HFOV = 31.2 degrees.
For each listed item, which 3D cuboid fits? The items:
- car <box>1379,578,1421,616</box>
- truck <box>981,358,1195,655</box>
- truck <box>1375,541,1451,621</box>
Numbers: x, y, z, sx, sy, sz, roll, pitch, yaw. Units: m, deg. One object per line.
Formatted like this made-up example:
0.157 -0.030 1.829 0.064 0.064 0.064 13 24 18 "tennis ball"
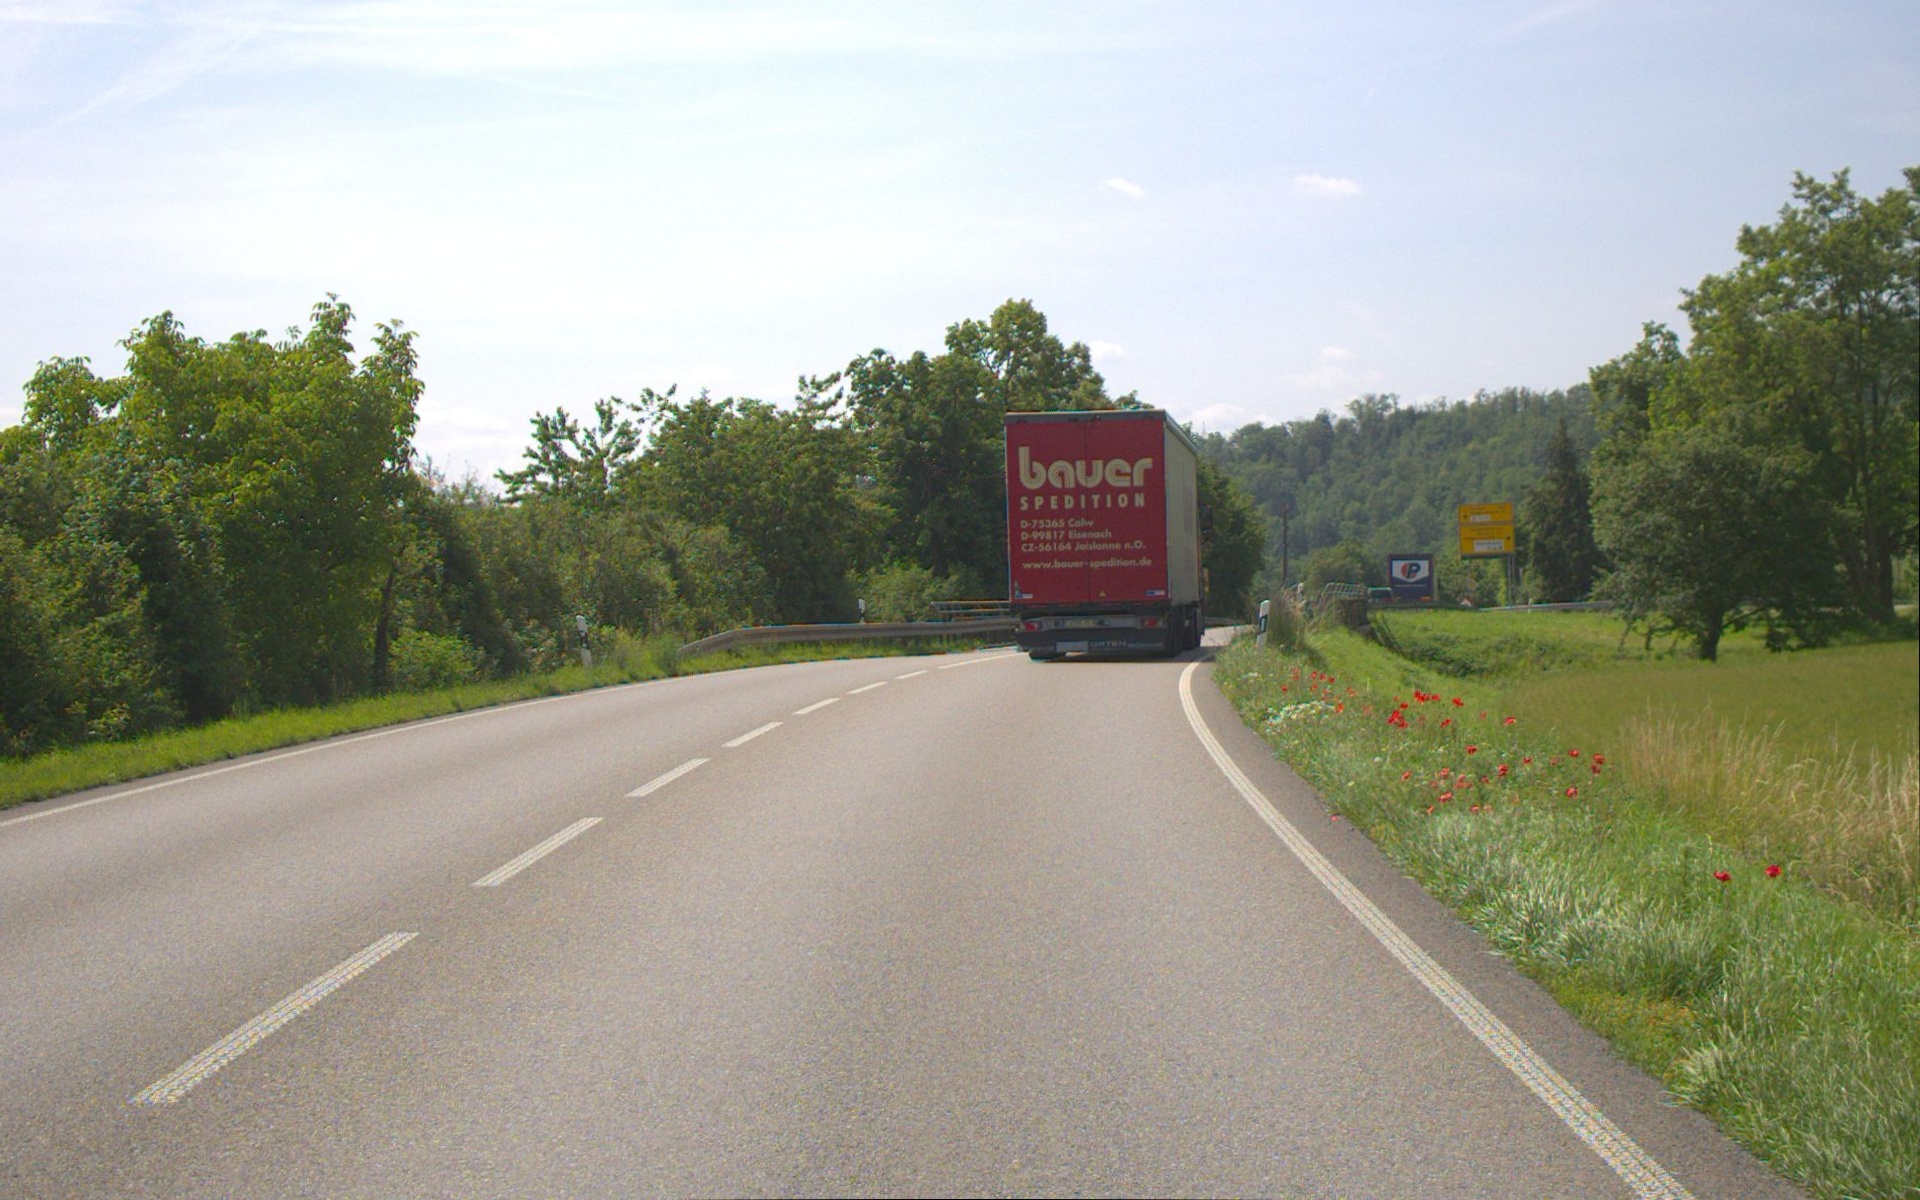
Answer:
22.334 -0.156 174.441 1.994 1.804 3.998 1 -1 9 "car"
2.456 -1.540 60.437 3.173 4.609 13.541 0 1 4 "truck"
26.905 -1.038 203.511 3.906 4.355 13.285 0 -1 10 "truck"
